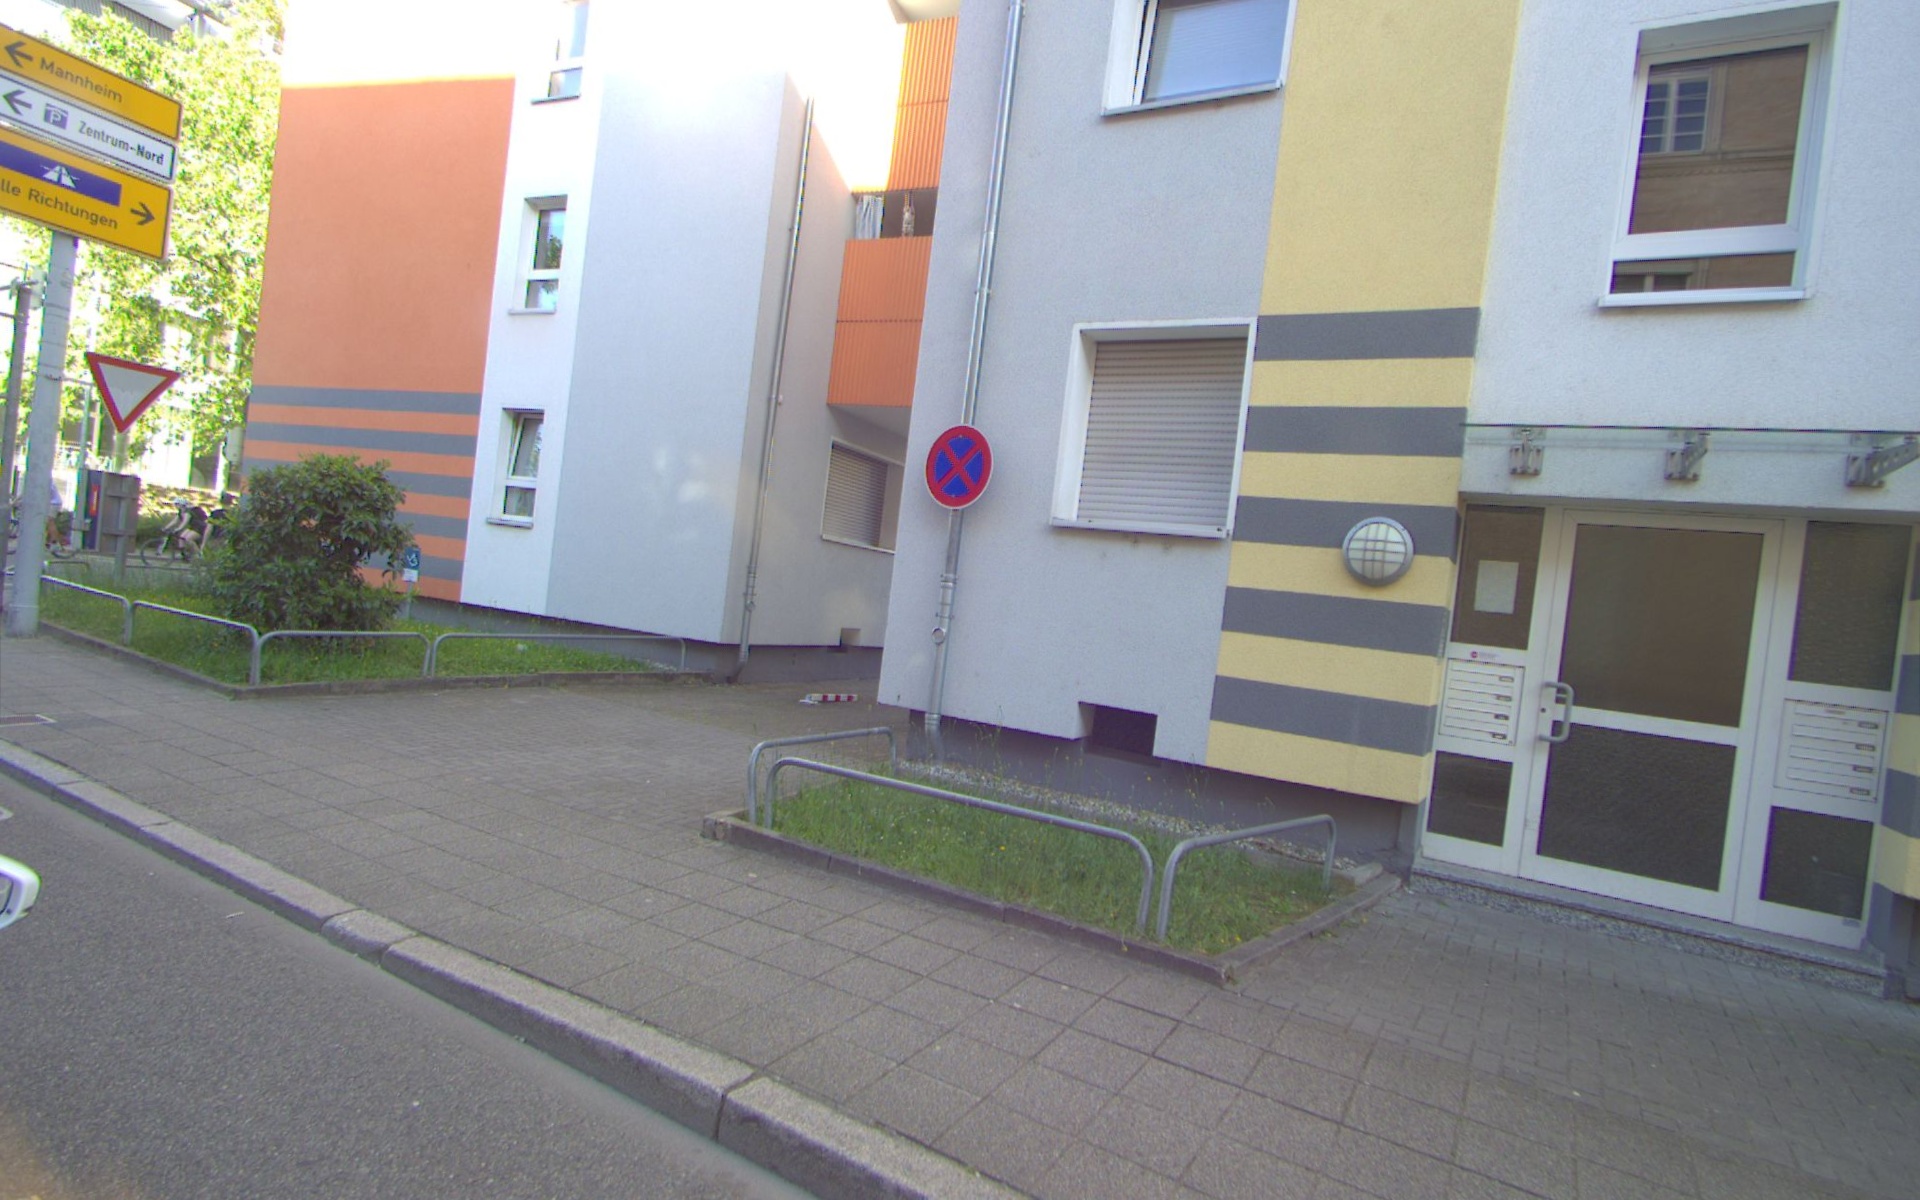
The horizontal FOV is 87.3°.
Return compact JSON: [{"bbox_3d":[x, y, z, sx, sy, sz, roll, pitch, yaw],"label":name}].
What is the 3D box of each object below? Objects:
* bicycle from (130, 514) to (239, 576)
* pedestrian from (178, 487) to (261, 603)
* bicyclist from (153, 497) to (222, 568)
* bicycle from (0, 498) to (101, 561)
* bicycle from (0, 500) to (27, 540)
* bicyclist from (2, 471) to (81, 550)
[{"bbox_3d":[-17.611,-1.226,22.886,0.617,1.166,1.781,7,0,29],"label":"bicycle"},{"bbox_3d":[-12.534,-0.909,17.062,0.690,1.831,0.719,7,-1,-9],"label":"pedestrian"},{"bbox_3d":[-17.561,-1.529,22.889,0.617,1.464,0.972,7,1,29],"label":"bicyclist"},{"bbox_3d":[-19.769,-1.506,21.643,0.616,1.166,1.970,7,0,6],"label":"bicycle"},{"bbox_3d":[-26.385,-2.248,27.384,1.409,1.021,0.379,7,1,-11],"label":"bicycle"},{"bbox_3d":[-19.733,-1.904,21.636,0.691,1.542,0.919,7,1,6],"label":"bicyclist"}]
